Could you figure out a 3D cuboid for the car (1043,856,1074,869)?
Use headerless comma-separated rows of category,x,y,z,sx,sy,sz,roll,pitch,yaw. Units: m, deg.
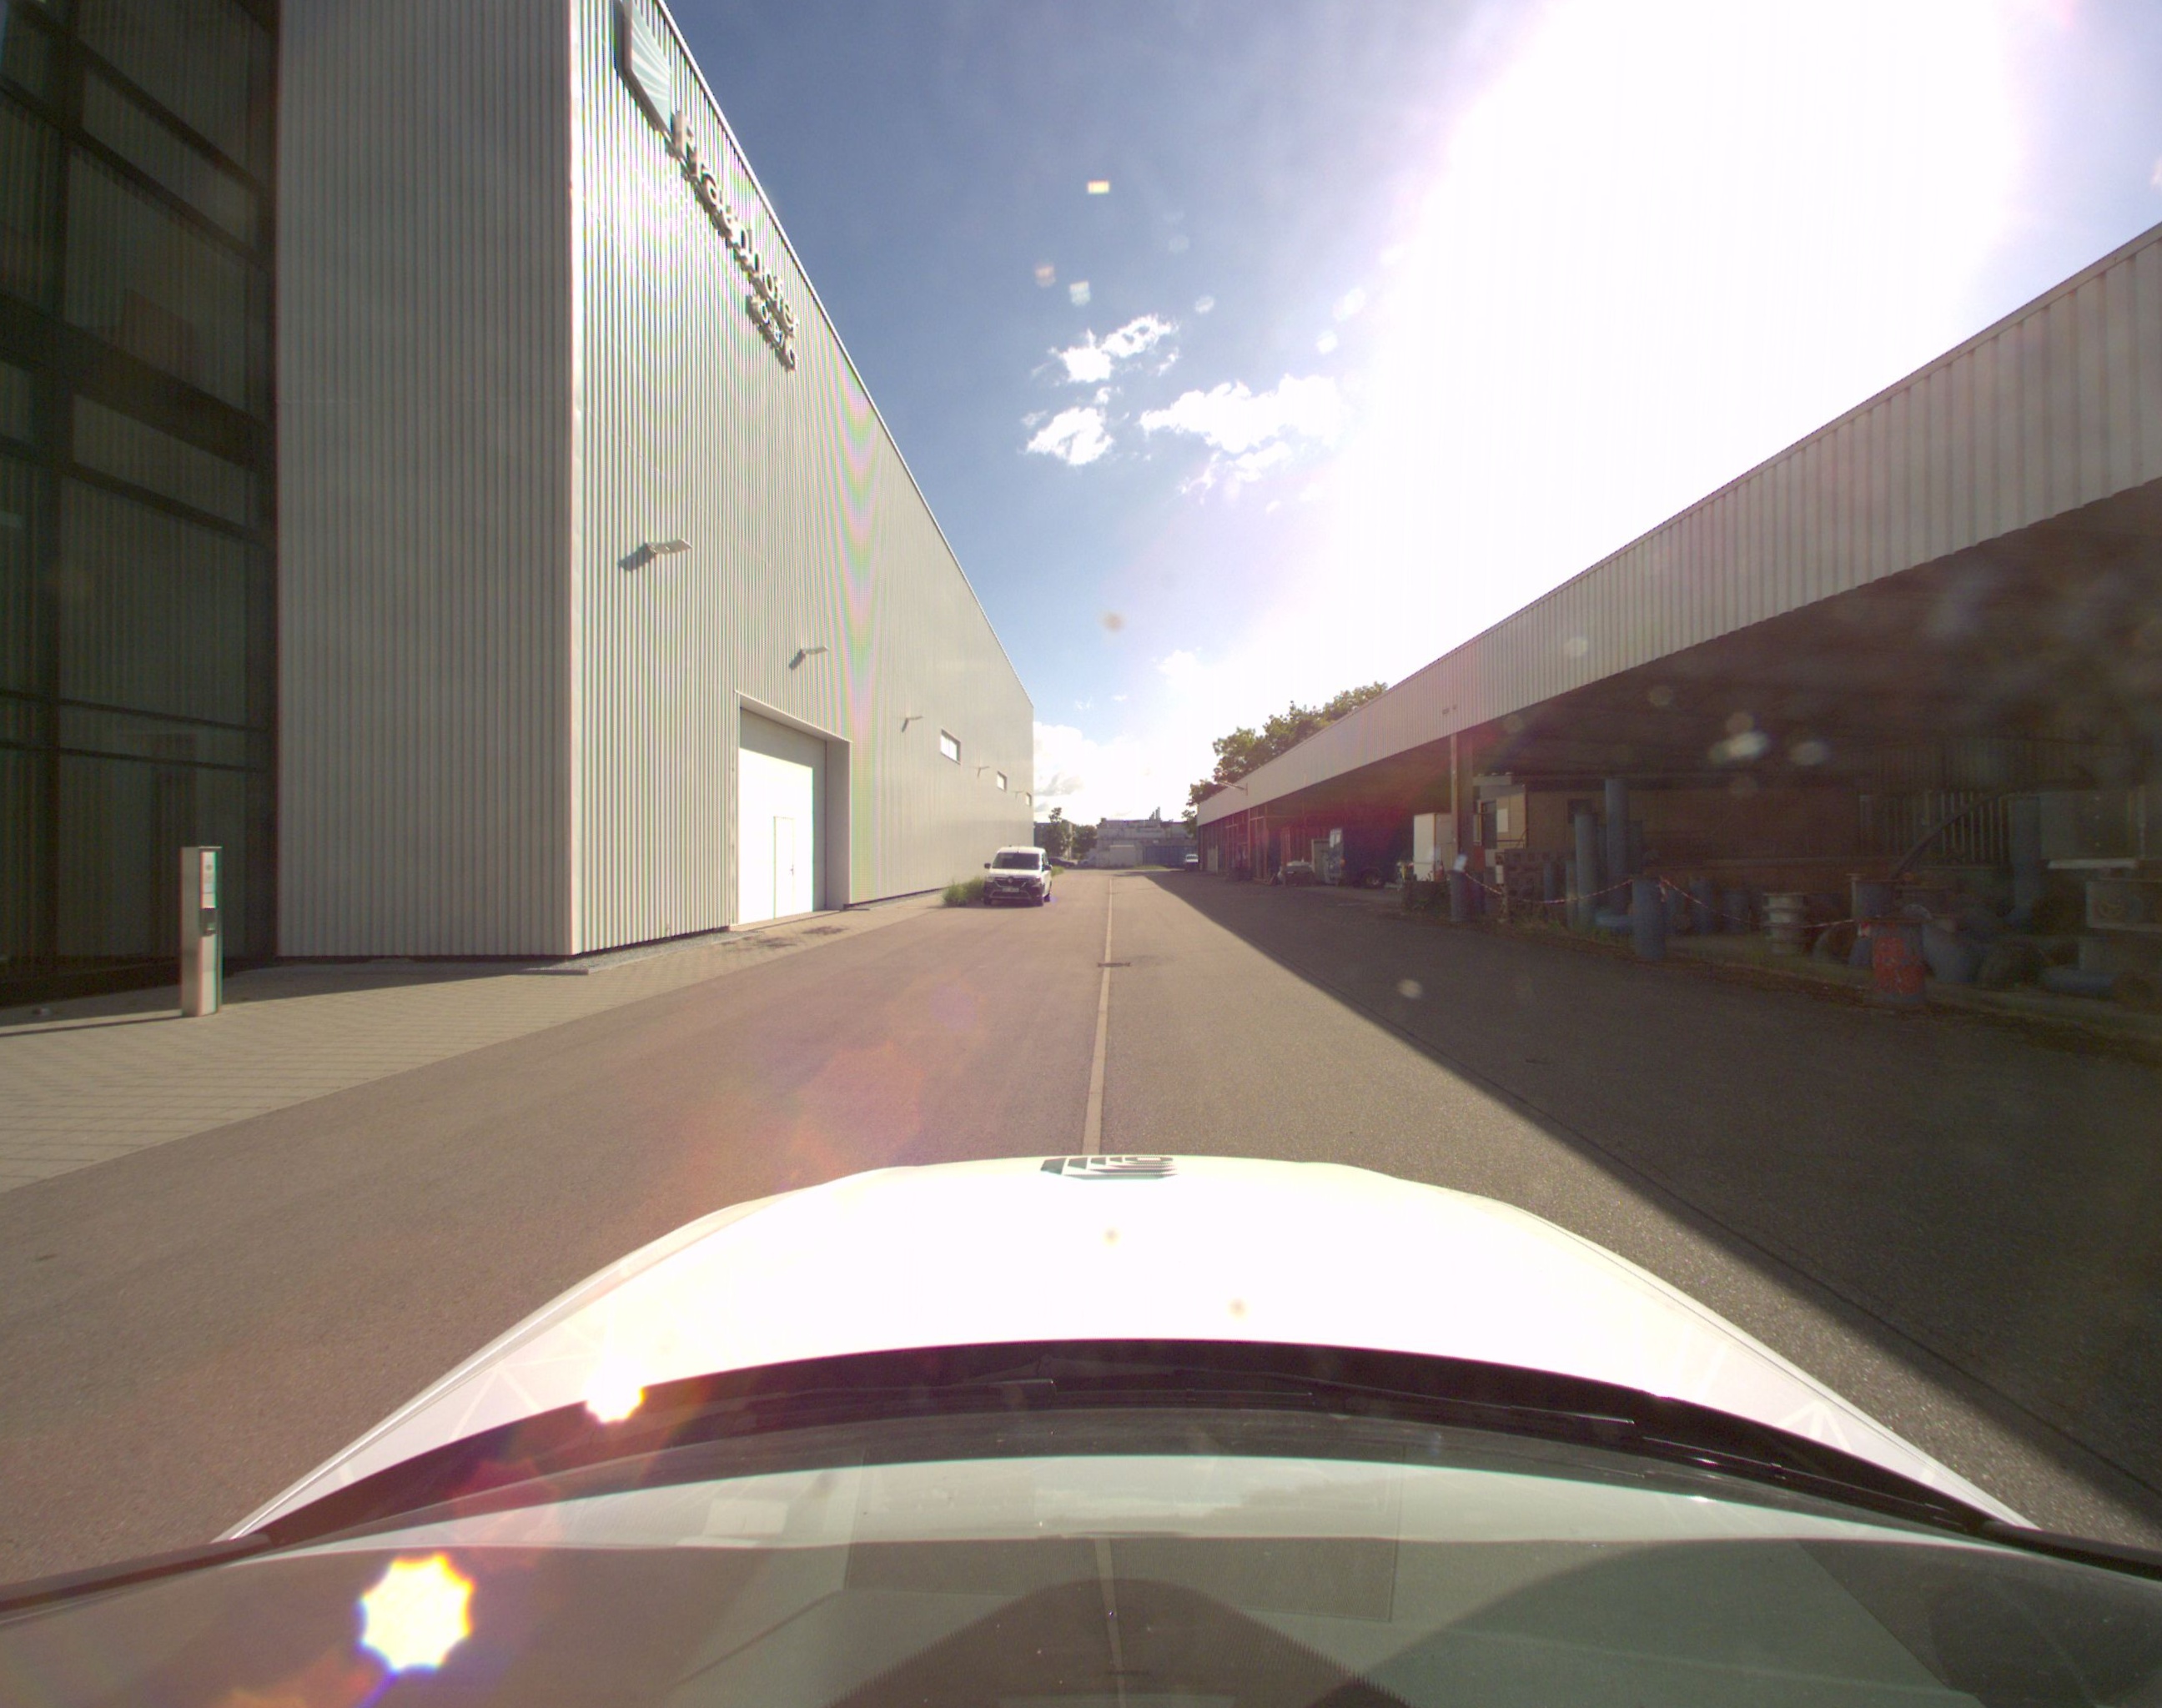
car,-2.958,1.127,108.058,3.973,1.598,1.741,1,-2,1

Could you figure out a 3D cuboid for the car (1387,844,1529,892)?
car,12.677,0.478,27.563,4.021,1.525,1.685,1,-2,3

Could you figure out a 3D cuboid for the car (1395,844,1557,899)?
car,11.621,0.532,24.166,4.021,1.525,1.685,1,-2,3

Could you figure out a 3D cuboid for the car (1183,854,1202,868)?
car,12.983,0.840,95.183,1.953,1.564,4.063,1,0,4

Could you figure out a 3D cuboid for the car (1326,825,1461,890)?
car,11.691,0.167,30.693,4.414,2.310,1.916,1,-2,3

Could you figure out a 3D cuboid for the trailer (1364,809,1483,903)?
trailer,9.176,0.061,21.970,2.513,2.399,1.728,-1,-1,3

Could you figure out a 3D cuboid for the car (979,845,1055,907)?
car,-1.915,0.629,25.741,1.811,1.787,4.408,1,0,3

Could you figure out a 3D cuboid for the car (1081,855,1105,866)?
car,1.952,1.097,135.826,3.973,1.598,1.848,1,-2,1
